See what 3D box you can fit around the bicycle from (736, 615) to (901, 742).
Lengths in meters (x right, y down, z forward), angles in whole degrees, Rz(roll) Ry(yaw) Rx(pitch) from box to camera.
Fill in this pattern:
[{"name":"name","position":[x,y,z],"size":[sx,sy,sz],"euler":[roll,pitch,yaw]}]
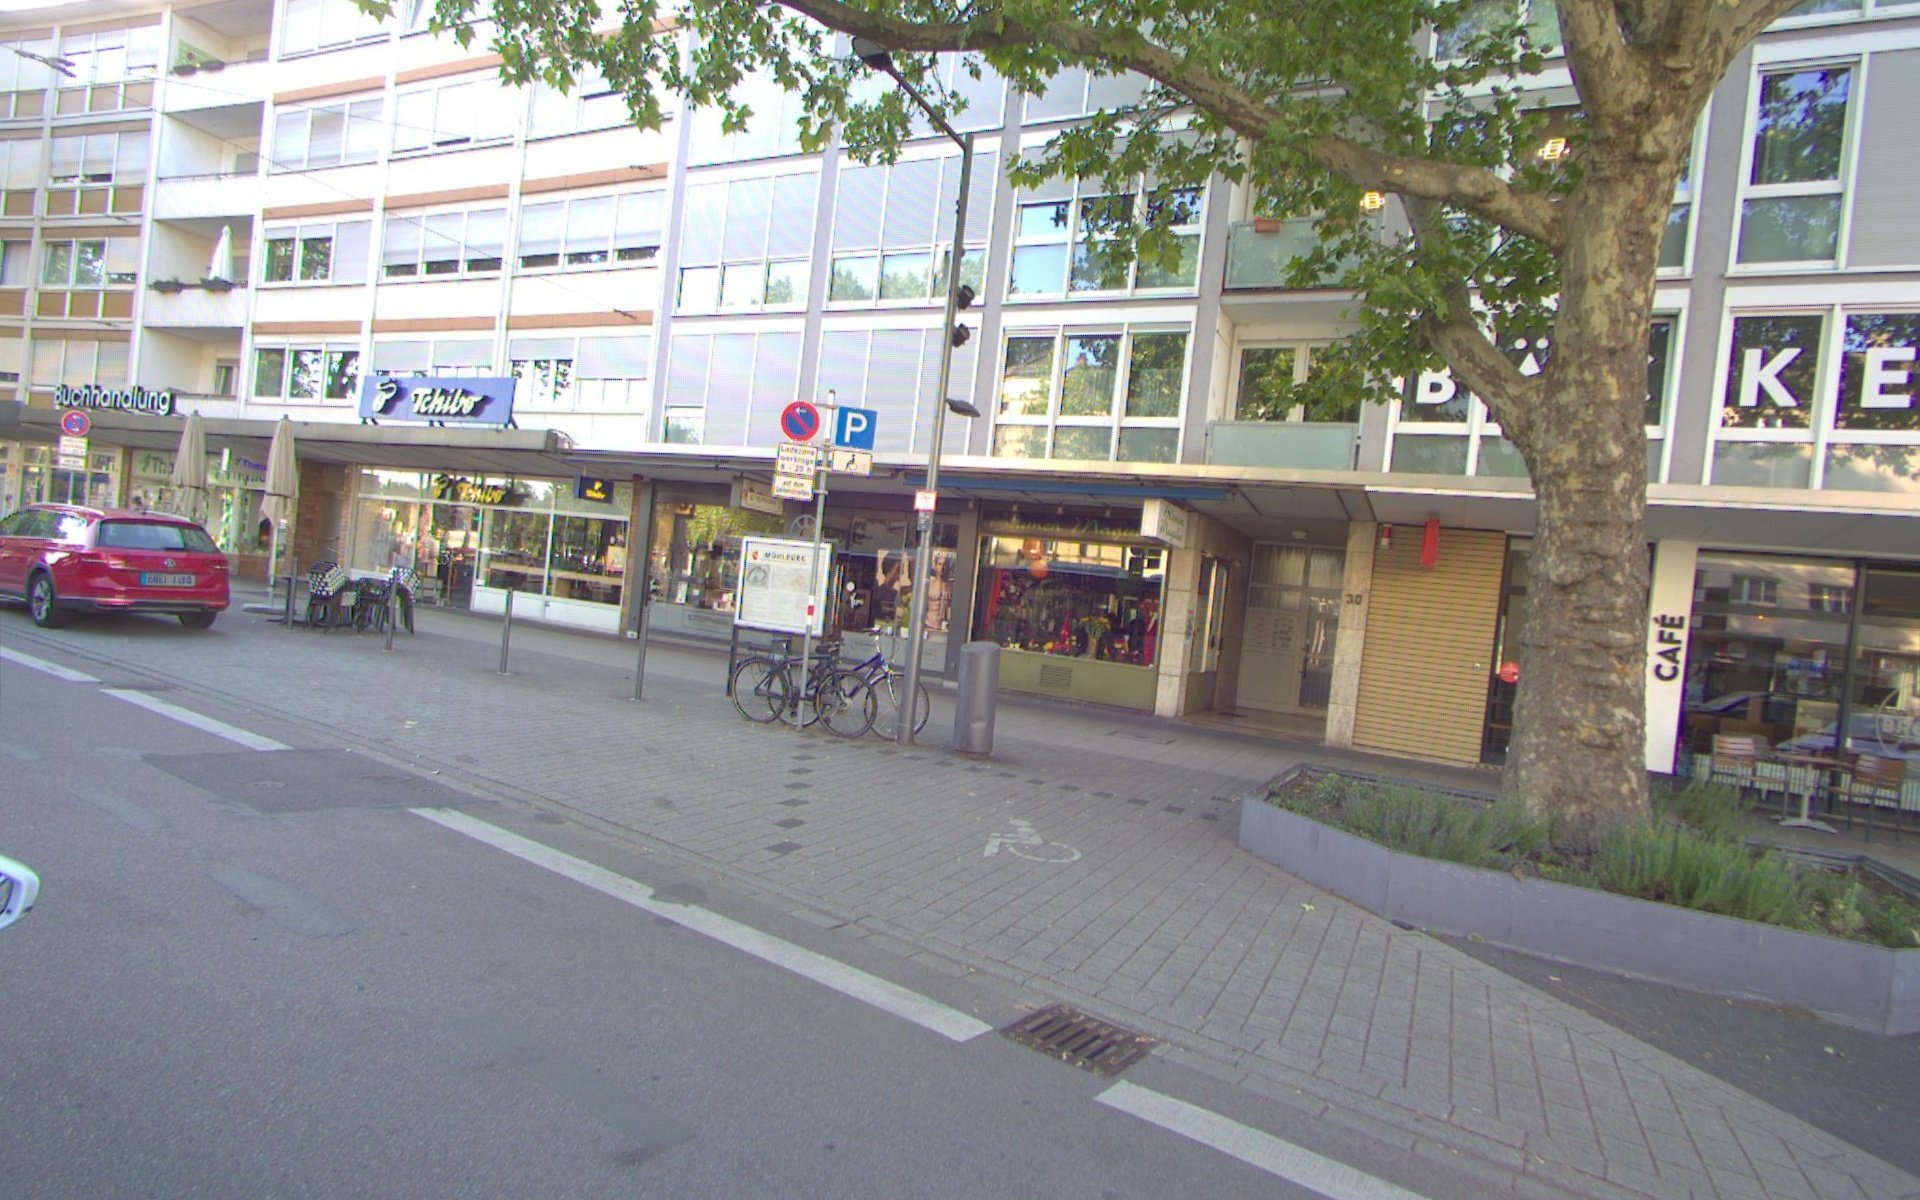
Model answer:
[{"name":"bicycle","position":[-1.506,0.808,10.636],"size":[1.686,1.117,0.294],"euler":[6,4,17]}]

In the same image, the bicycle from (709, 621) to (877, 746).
[{"name":"bicycle","position":[-1.740,0.838,10.414],"size":[1.686,1.055,0.294],"euler":[6,4,17]}]

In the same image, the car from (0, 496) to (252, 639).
[{"name":"car","position":[-11.744,-0.503,13.494],"size":[4.488,1.516,1.780],"euler":[6,2,28]}]

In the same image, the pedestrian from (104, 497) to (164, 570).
[{"name":"pedestrian","position":[-19.193,-1.530,23.371],"size":[0.792,1.571,0.641],"euler":[6,1,17]}]
